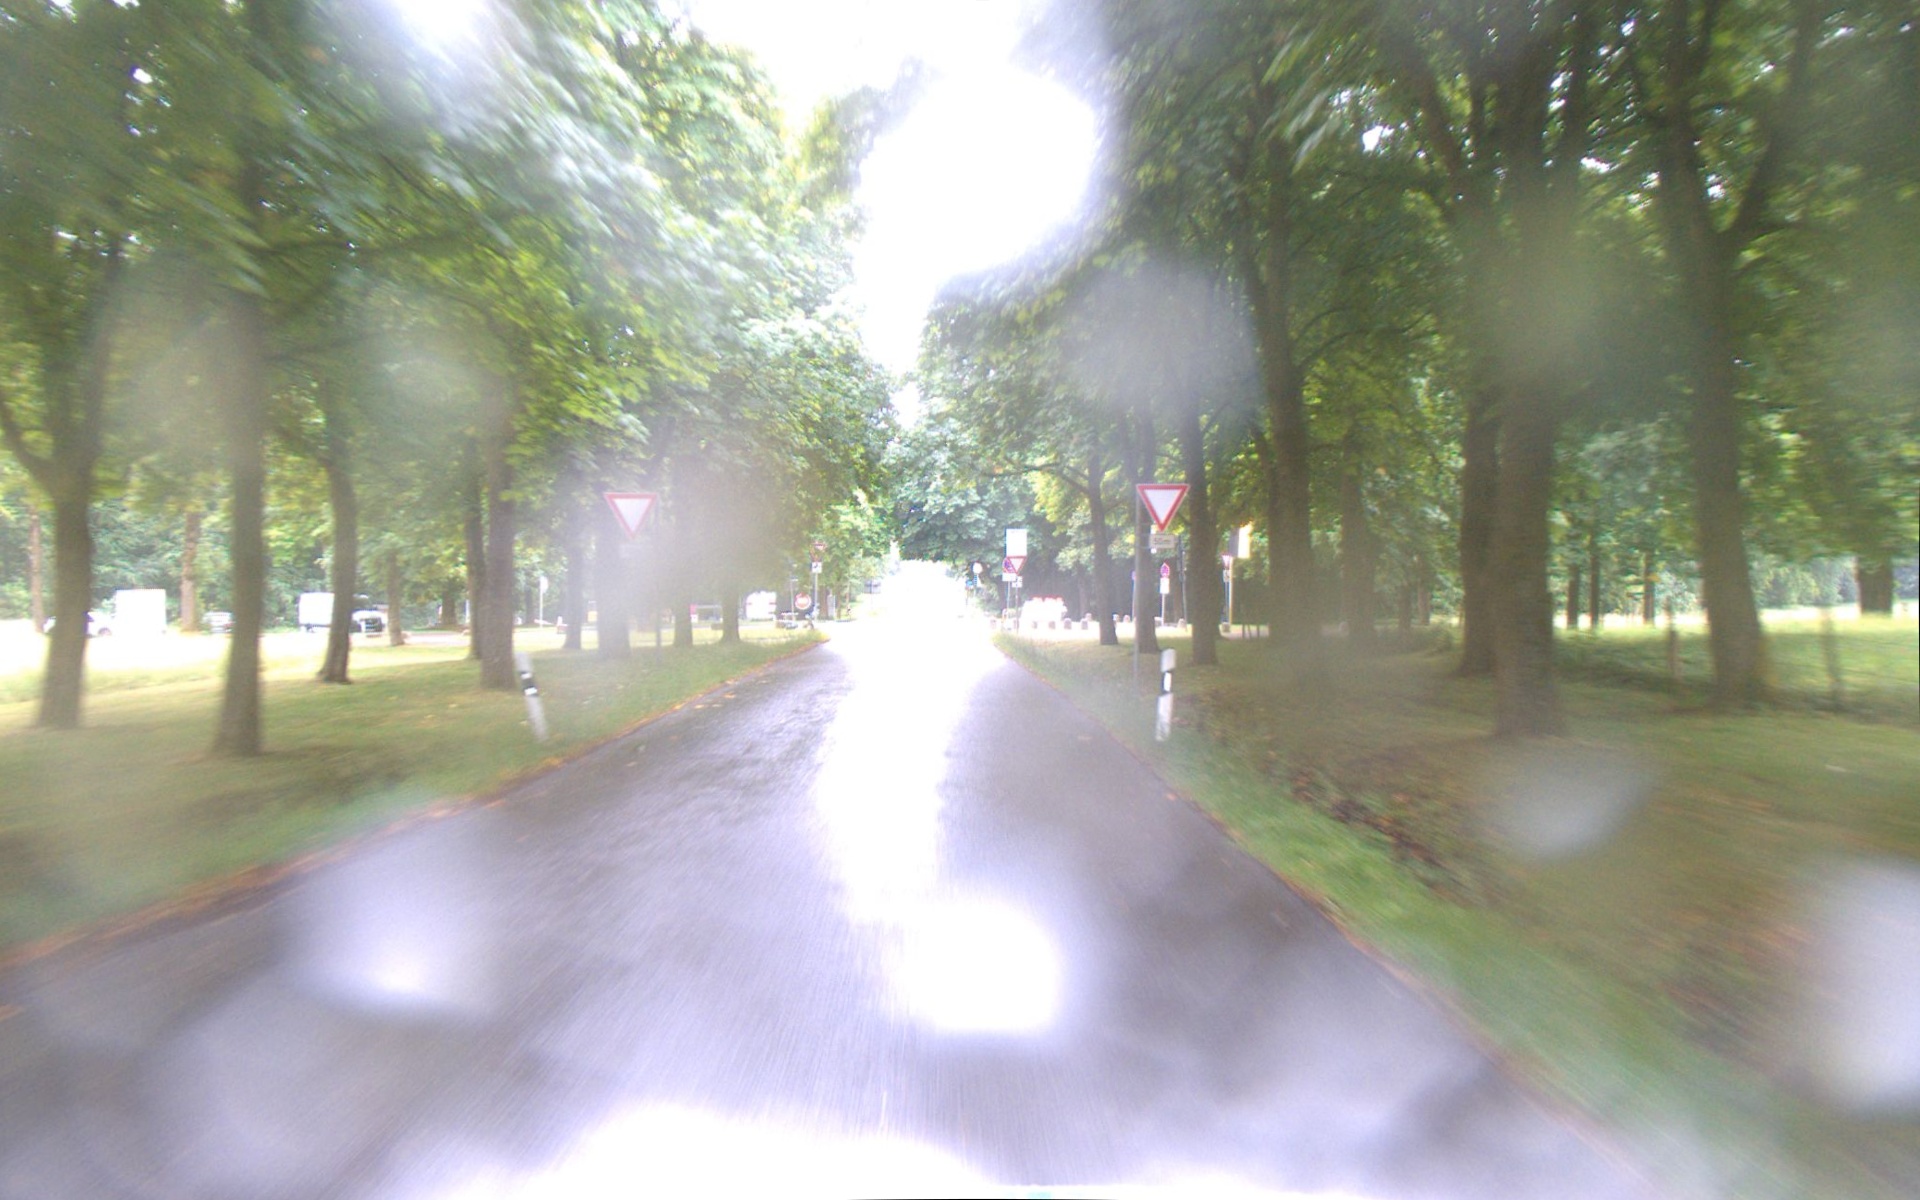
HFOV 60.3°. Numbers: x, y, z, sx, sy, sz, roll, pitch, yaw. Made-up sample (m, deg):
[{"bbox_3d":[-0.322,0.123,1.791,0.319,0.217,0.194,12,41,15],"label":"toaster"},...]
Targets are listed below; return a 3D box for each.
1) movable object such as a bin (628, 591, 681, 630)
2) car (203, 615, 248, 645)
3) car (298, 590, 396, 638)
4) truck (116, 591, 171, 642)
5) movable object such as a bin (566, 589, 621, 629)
[{"bbox_3d":[-26.801,0.895,144.988,4.501,3.352,3.655,-1,0,-12],"label":"movable object such as a bin"},{"bbox_3d":[-37.322,1.493,84.089,1.736,1.454,4.084,-1,0,-19],"label":"car"},{"bbox_3d":[-33.007,0.793,88.940,5.873,2.450,2.379,-2,-2,41],"label":"car"},{"bbox_3d":[-40.701,0.795,82.537,1.839,2.485,3.335,-1,0,-15],"label":"truck"},{"bbox_3d":[-31.681,0.744,143.233,4.573,3.352,3.901,-1,0,-12],"label":"movable object such as a bin"}]
